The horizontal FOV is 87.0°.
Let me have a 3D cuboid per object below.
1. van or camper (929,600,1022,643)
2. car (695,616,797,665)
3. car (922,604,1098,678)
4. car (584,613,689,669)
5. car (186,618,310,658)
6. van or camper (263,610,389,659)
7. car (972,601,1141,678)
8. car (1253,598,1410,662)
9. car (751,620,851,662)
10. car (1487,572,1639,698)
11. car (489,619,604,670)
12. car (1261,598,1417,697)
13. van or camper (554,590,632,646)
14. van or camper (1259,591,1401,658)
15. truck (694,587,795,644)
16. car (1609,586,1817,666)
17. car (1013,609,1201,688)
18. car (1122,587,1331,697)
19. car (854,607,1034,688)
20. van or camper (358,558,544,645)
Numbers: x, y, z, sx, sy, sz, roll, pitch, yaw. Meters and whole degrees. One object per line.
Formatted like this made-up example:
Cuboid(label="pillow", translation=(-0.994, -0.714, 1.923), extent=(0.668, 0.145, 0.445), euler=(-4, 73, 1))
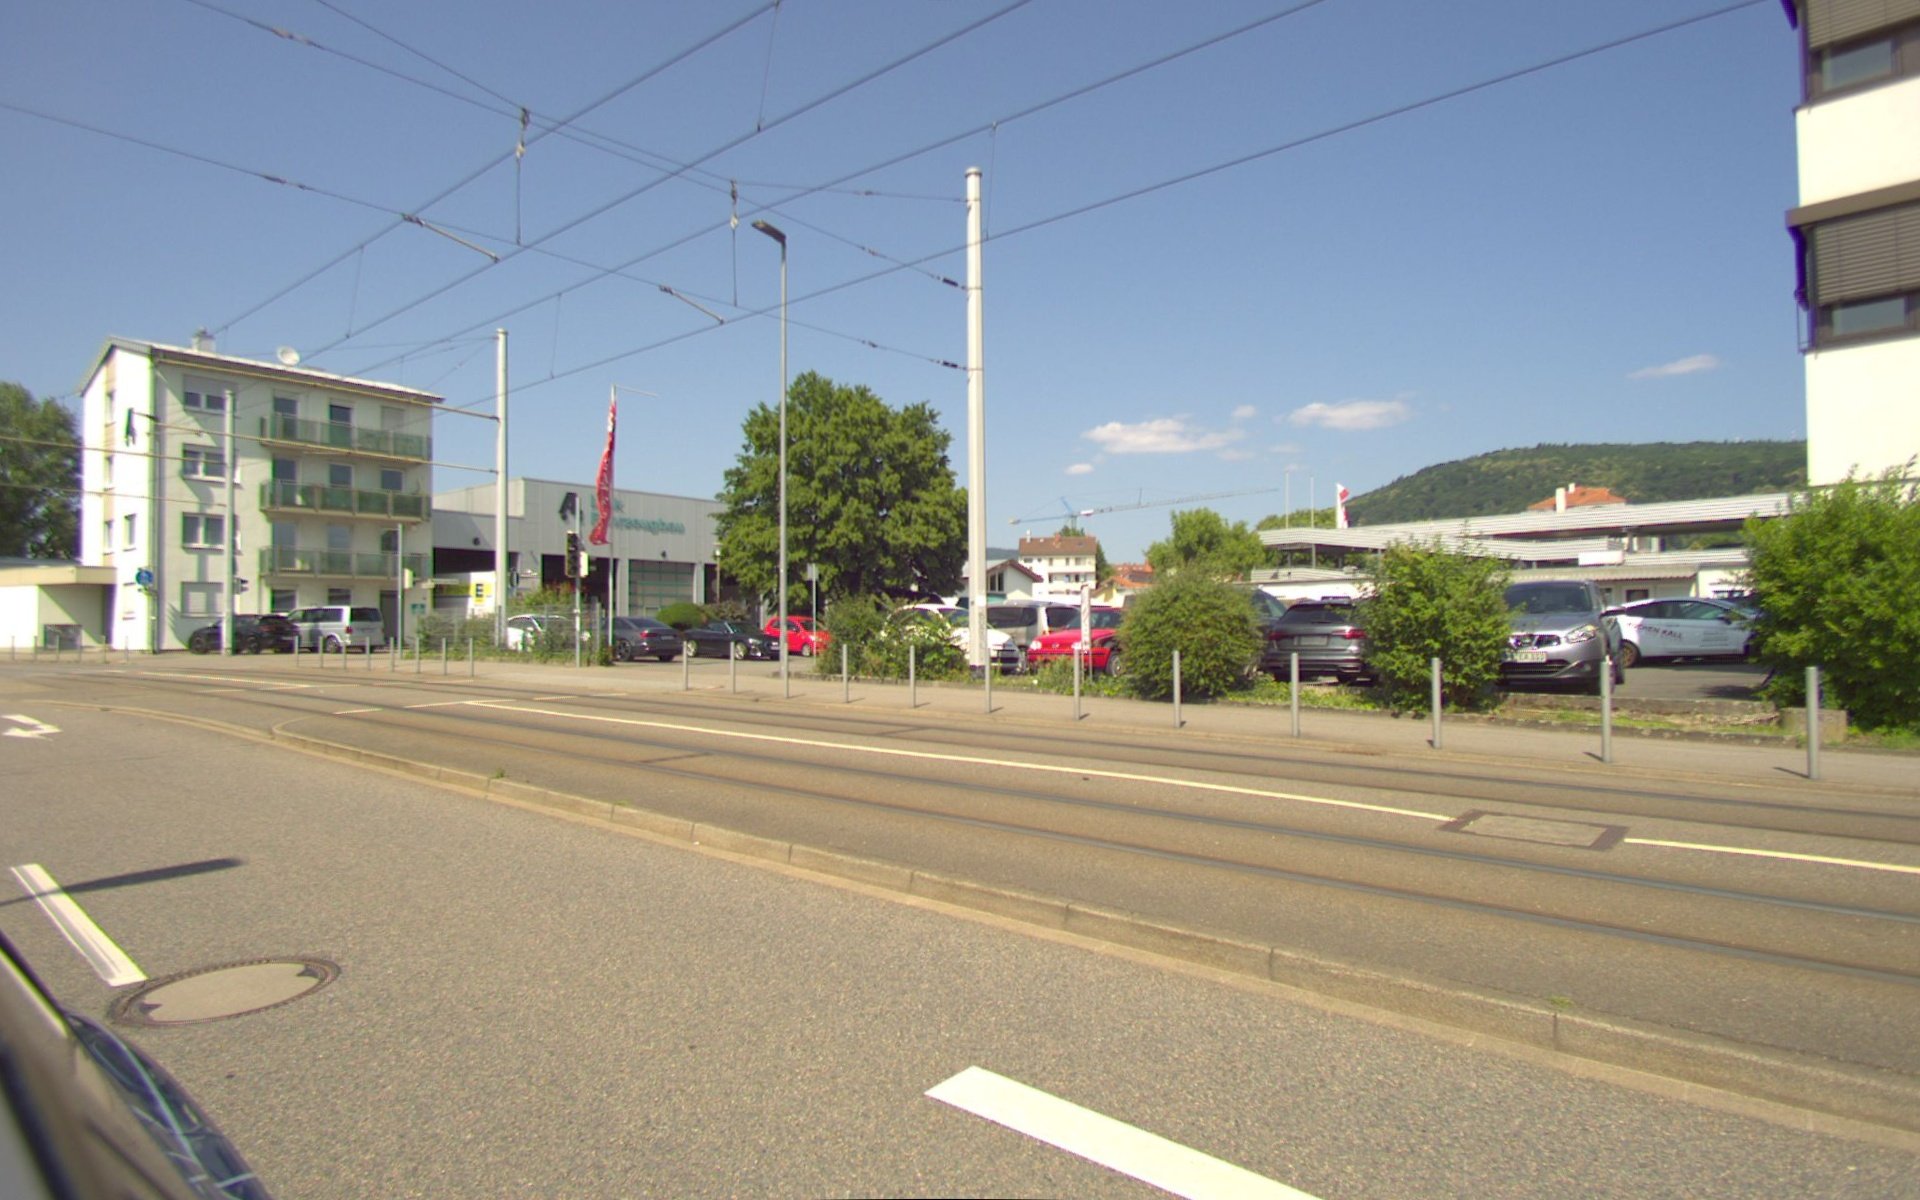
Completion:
Cuboid(label="van or camper", translation=(0.709, 1.101, 50.374), extent=(1.970, 2.023, 4.647), euler=(1, -2, -43))
Cuboid(label="car", translation=(-7.651, 1.426, 35.987), extent=(1.828, 1.633, 3.840), euler=(2, -3, -43))
Cuboid(label="car", translation=(1.084, 0.926, 23.465), extent=(1.828, 1.580, 3.940), euler=(1, -2, -42))
Cuboid(label="car", translation=(-10.488, 1.344, 32.651), extent=(1.743, 1.633, 3.840), euler=(0, -4, -43))
Cuboid(label="car", translation=(-28.058, 1.502, 39.915), extent=(3.934, 1.532, 1.872), euler=(-1, -2, 13))
Cuboid(label="van or camper", translation=(-26.329, 1.414, 42.046), extent=(4.518, 1.922, 1.988), euler=(0, -2, 18))
Cuboid(label="car", translation=(2.383, 0.972, 25.688), extent=(1.969, 1.798, 4.005), euler=(0, -2, -41))
Cuboid(label="car", translation=(12.630, 1.022, 34.613), extent=(2.027, 2.029, 4.584), euler=(1, -2, -43))
Cuboid(label="car", translation=(-6.397, 1.626, 40.559), extent=(3.832, 1.605, 1.833), euler=(-2, -1, 39))
Cuboid(label="car", translation=(8.572, 0.459, 14.254), extent=(1.472, 1.540, 3.591), euler=(-2, -1, 36))
Cuboid(label="car", translation=(-12.822, 1.337, 31.304), extent=(3.952, 1.444, 1.690), euler=(-1, -1, 40))
Cuboid(label="car", translation=(6.232, 0.720, 16.455), extent=(1.545, 1.433, 3.357), euler=(-1, -1, 36))
Cuboid(label="van or camper", translation=(-22.326, 1.122, 61.524), extent=(5.049, 3.230, 1.975), euler=(-2, -2, 36))
Cuboid(label="van or camper", translation=(13.586, 0.911, 37.347), extent=(4.604, 2.323, 1.755), euler=(-2, -2, 45))
Cuboid(label="truck", translation=(-15.237, 1.127, 71.169), extent=(7.852, 3.810, 2.590), euler=(-1, -2, 39))
Cuboid(label="car", translation=(15.626, 0.585, 21.119), extent=(1.399, 1.438, 3.137), euler=(1, -5, -39))
Cuboid(label="car", translation=(2.926, 0.889, 19.677), extent=(1.748, 1.381, 3.781), euler=(-2, -2, 43))
Cuboid(label="car", translation=(4.830, 0.693, 18.053), extent=(2.000, 1.719, 3.944), euler=(-2, -2, 42))
Cuboid(label="car", translation=(-0.415, 0.972, 21.494), extent=(1.715, 1.553, 3.840), euler=(1, -2, -43))
Cuboid(label="van or camper", translation=(-26.387, 0.228, 52.124), extent=(11.594, 3.721, 2.752), euler=(-4, -3, 31))
